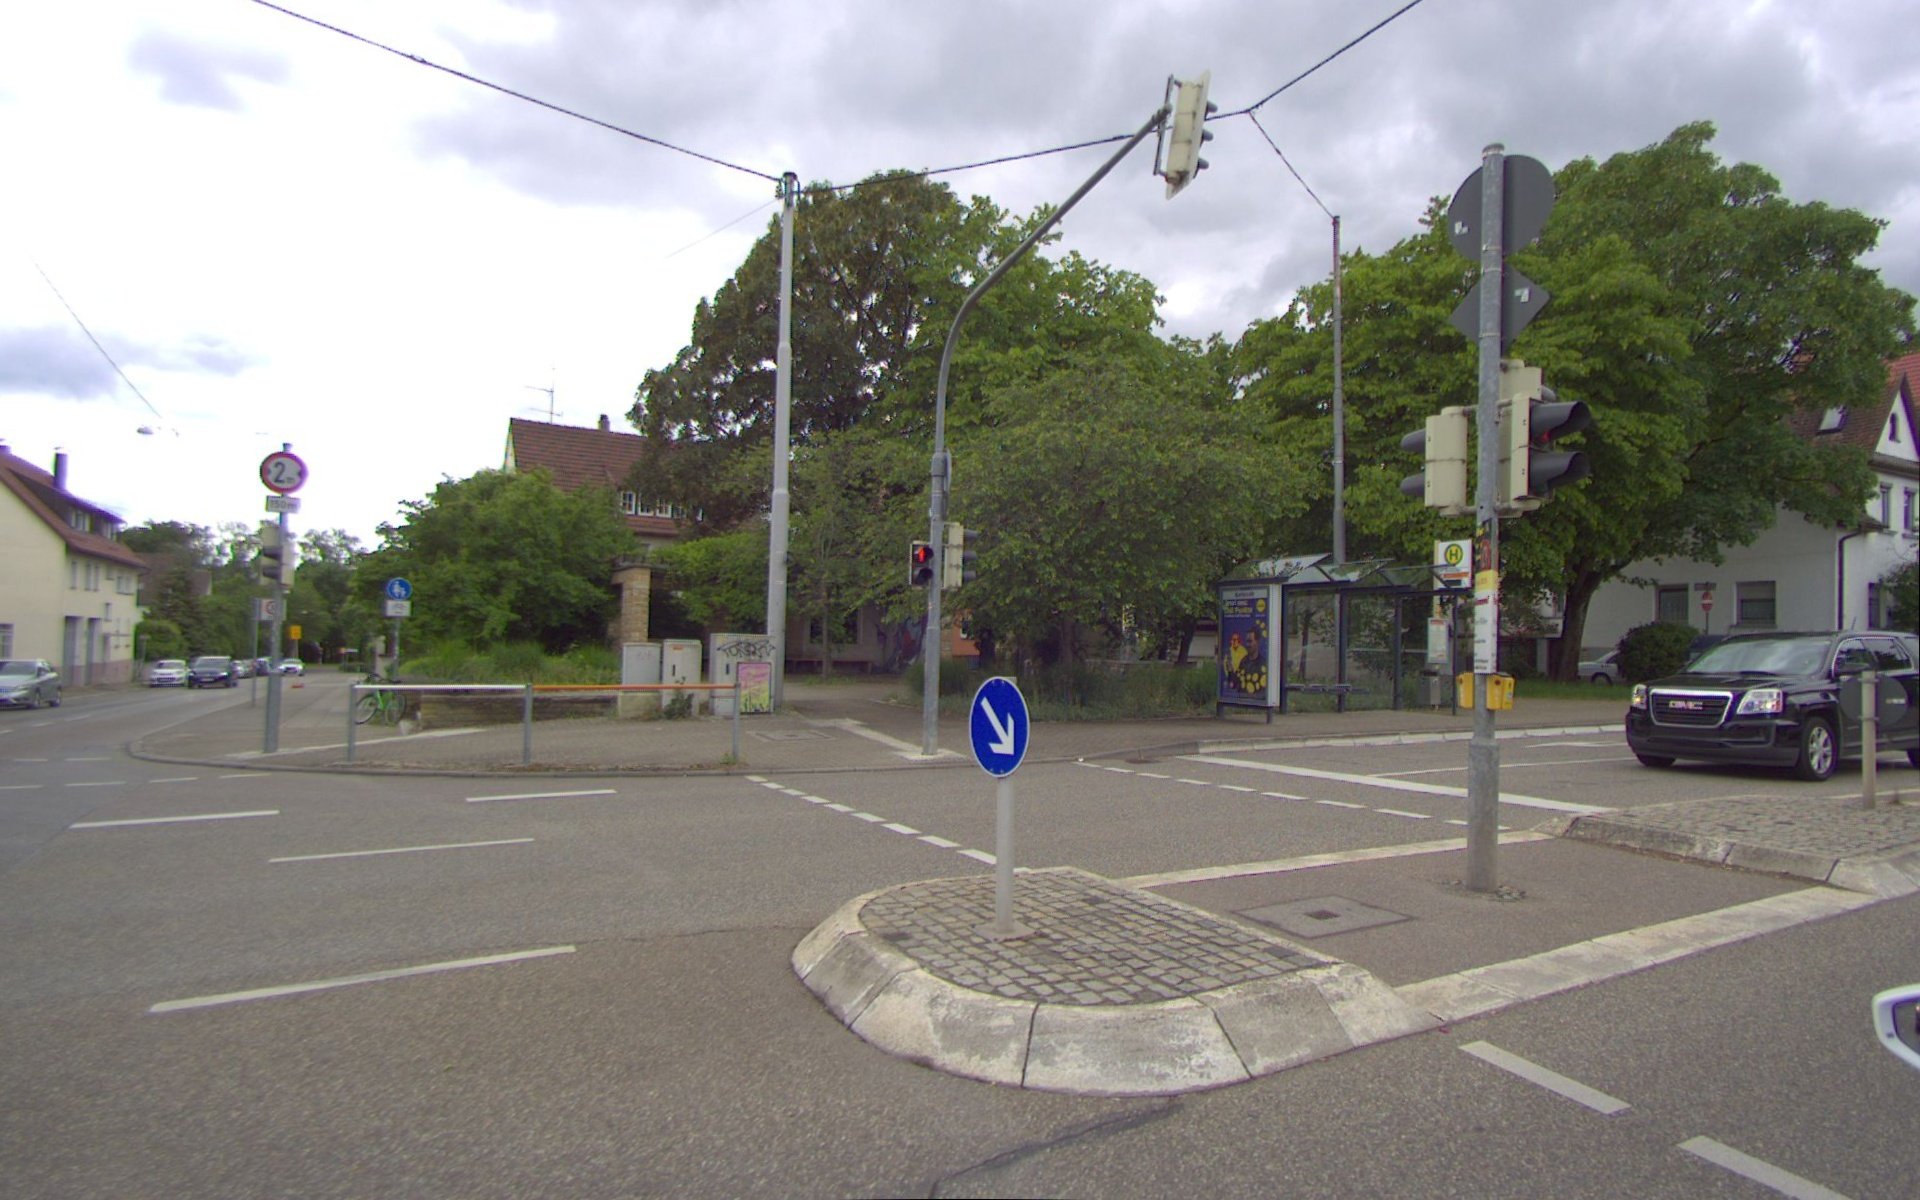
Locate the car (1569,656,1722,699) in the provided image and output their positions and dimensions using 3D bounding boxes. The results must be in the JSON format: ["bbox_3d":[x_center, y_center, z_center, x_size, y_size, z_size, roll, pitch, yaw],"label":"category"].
[{"bbox_3d":[23.110,2.634,34.023,1.700,1.349,3.974,3,-5,-27],"label":"car"}]

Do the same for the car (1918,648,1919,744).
[{"bbox_3d":[16.553,1.512,15.320,4.077,1.438,1.558,3,-3,-27],"label":"car"}]

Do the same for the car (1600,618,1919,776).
[{"bbox_3d":[10.134,1.173,12.321,4.535,1.656,1.753,3,-5,-26],"label":"car"}]

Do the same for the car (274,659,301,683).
[{"bbox_3d":[-65.913,6.943,98.460,1.978,2.040,3.965,3,-1,-32],"label":"car"}]

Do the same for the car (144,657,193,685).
[{"bbox_3d":[-45.561,4.073,57.906,1.774,1.480,4.379,1,-3,-32],"label":"car"}]

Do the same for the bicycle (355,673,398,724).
[{"bbox_3d":[-11.417,1.914,19.638,0.422,0.954,1.302,3,-6,-43],"label":"bicycle"}]

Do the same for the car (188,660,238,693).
[{"bbox_3d":[-39.364,3.998,52.992,1.723,1.537,3.965,2,-2,-32],"label":"car"}]

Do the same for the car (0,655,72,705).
[{"bbox_3d":[-29.112,2.487,31.001,1.808,1.458,3.618,1,-4,-30],"label":"car"}]

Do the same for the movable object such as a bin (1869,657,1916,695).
[{"bbox_3d":[27.206,2.218,29.315,0.708,1.033,0.720,0,1,7],"label":"movable object such as a bin"}]

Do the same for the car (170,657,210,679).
[{"bbox_3d":[-52.658,4.636,68.752,1.774,1.480,4.379,1,-3,-32],"label":"car"}]
